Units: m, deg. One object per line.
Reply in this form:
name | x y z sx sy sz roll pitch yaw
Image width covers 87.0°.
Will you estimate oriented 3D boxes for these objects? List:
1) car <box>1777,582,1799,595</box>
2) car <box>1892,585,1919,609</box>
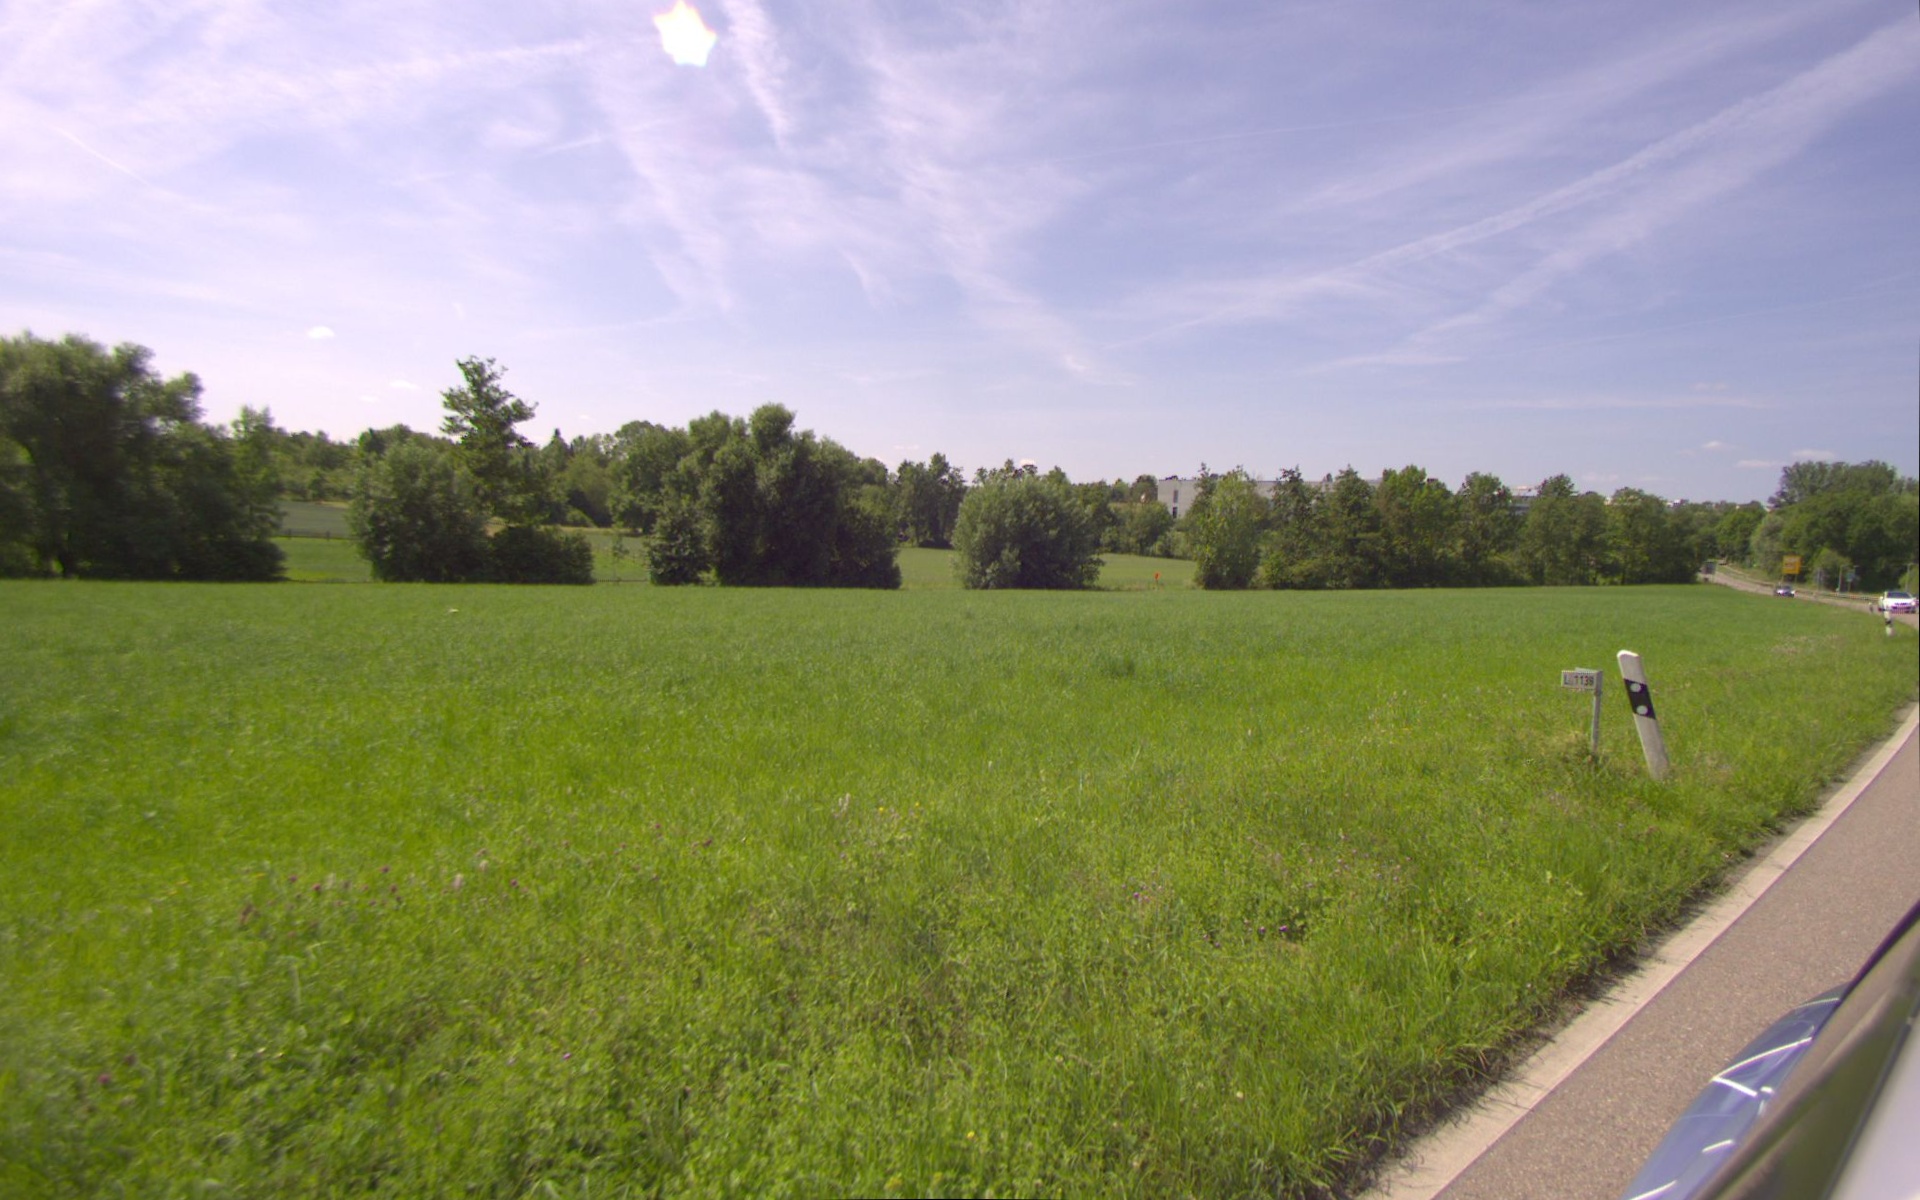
car | 102.836 -1.434 125.721 1.989 1.604 3.946 3 2 37
car | 66.259 -0.223 70.207 1.989 1.604 3.946 2 2 37
